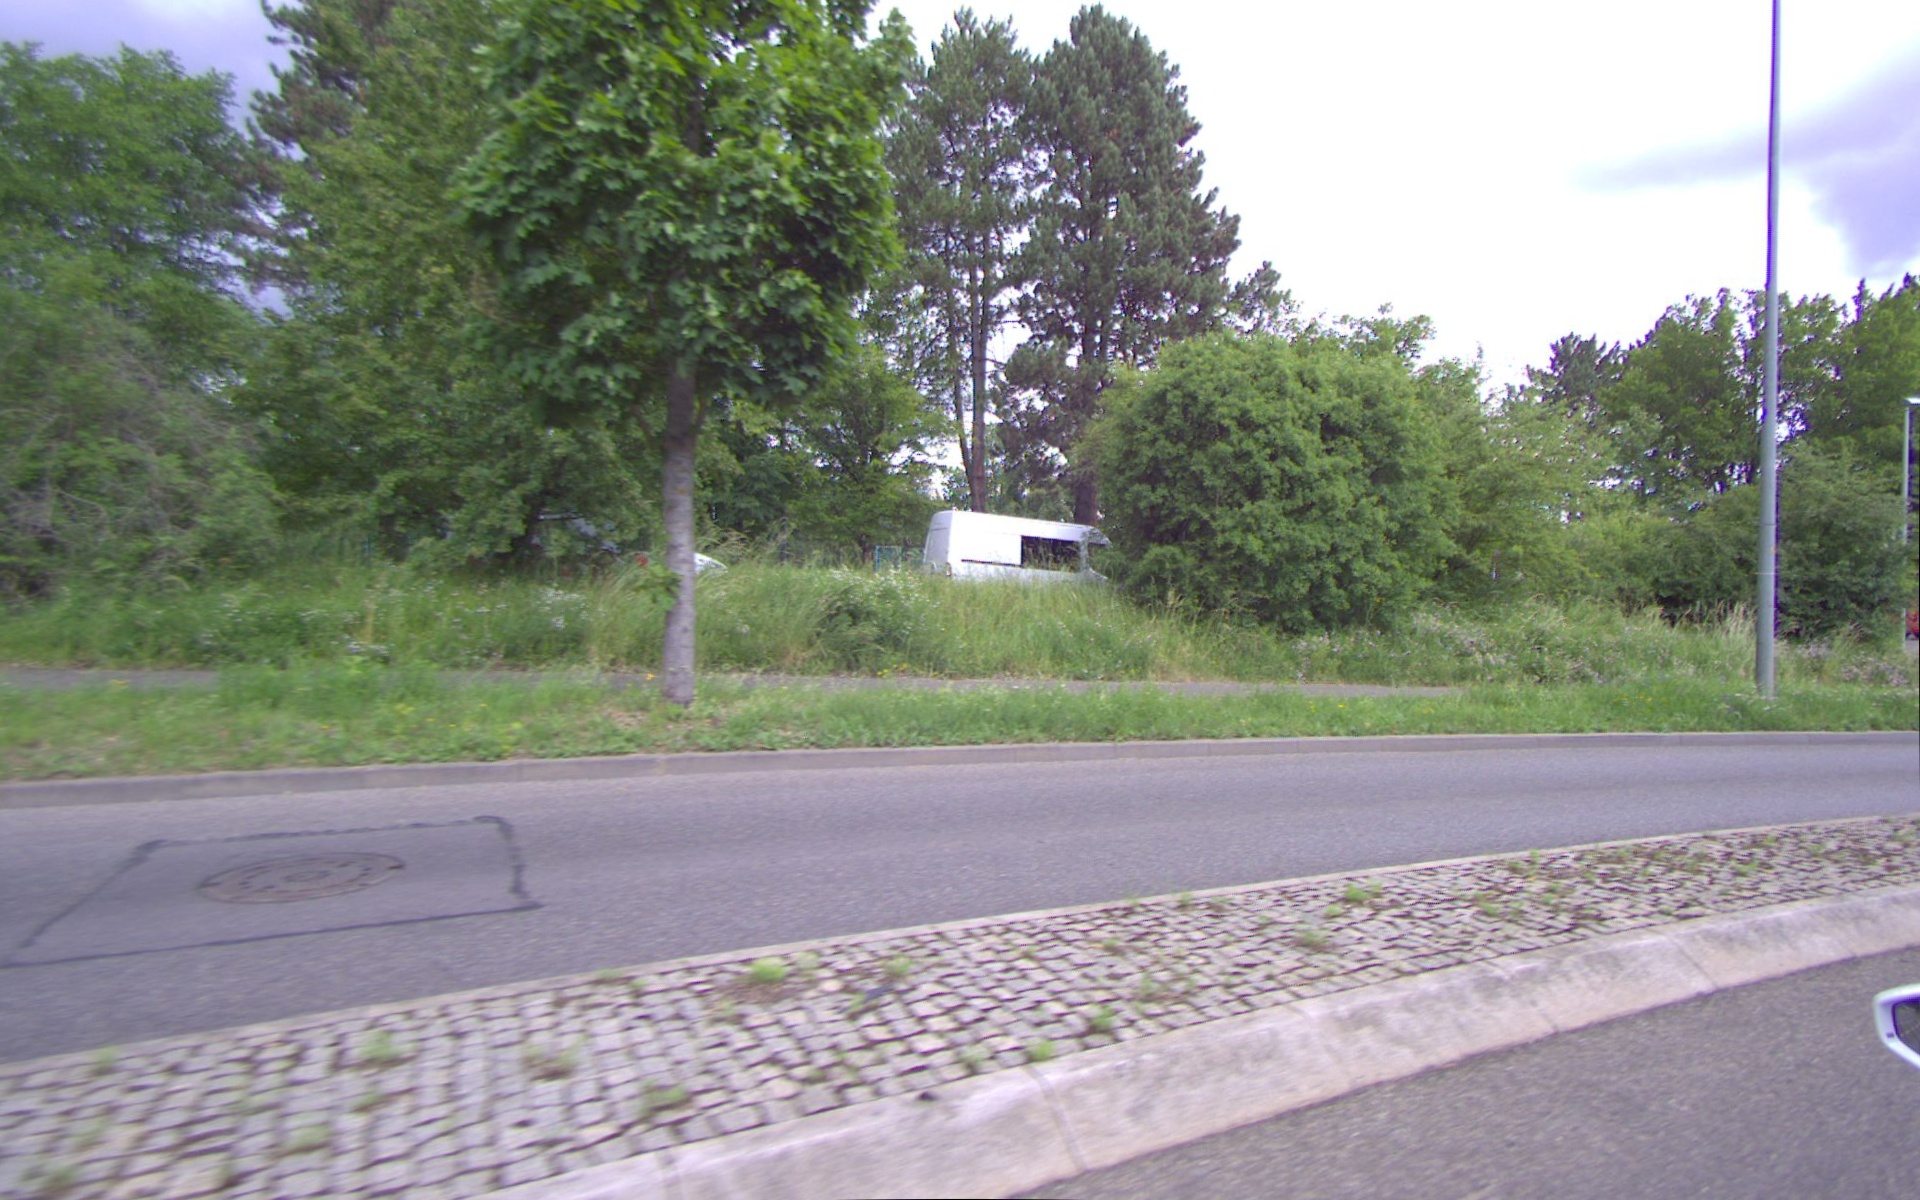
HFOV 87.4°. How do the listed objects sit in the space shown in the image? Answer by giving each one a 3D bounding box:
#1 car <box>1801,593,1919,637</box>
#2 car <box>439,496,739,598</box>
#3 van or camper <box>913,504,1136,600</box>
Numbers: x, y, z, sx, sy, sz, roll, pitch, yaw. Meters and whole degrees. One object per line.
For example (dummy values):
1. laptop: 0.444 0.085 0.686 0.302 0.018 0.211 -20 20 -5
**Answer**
1. car: 37.251 0.601 41.011 1.972 1.684 3.976 1 0 -24
2. car: -7.122 -0.958 19.778 5.238 1.748 2.137 1 1 -18
3. van or camper: 1.407 -1.009 22.420 4.556 1.902 1.992 1 1 -18
